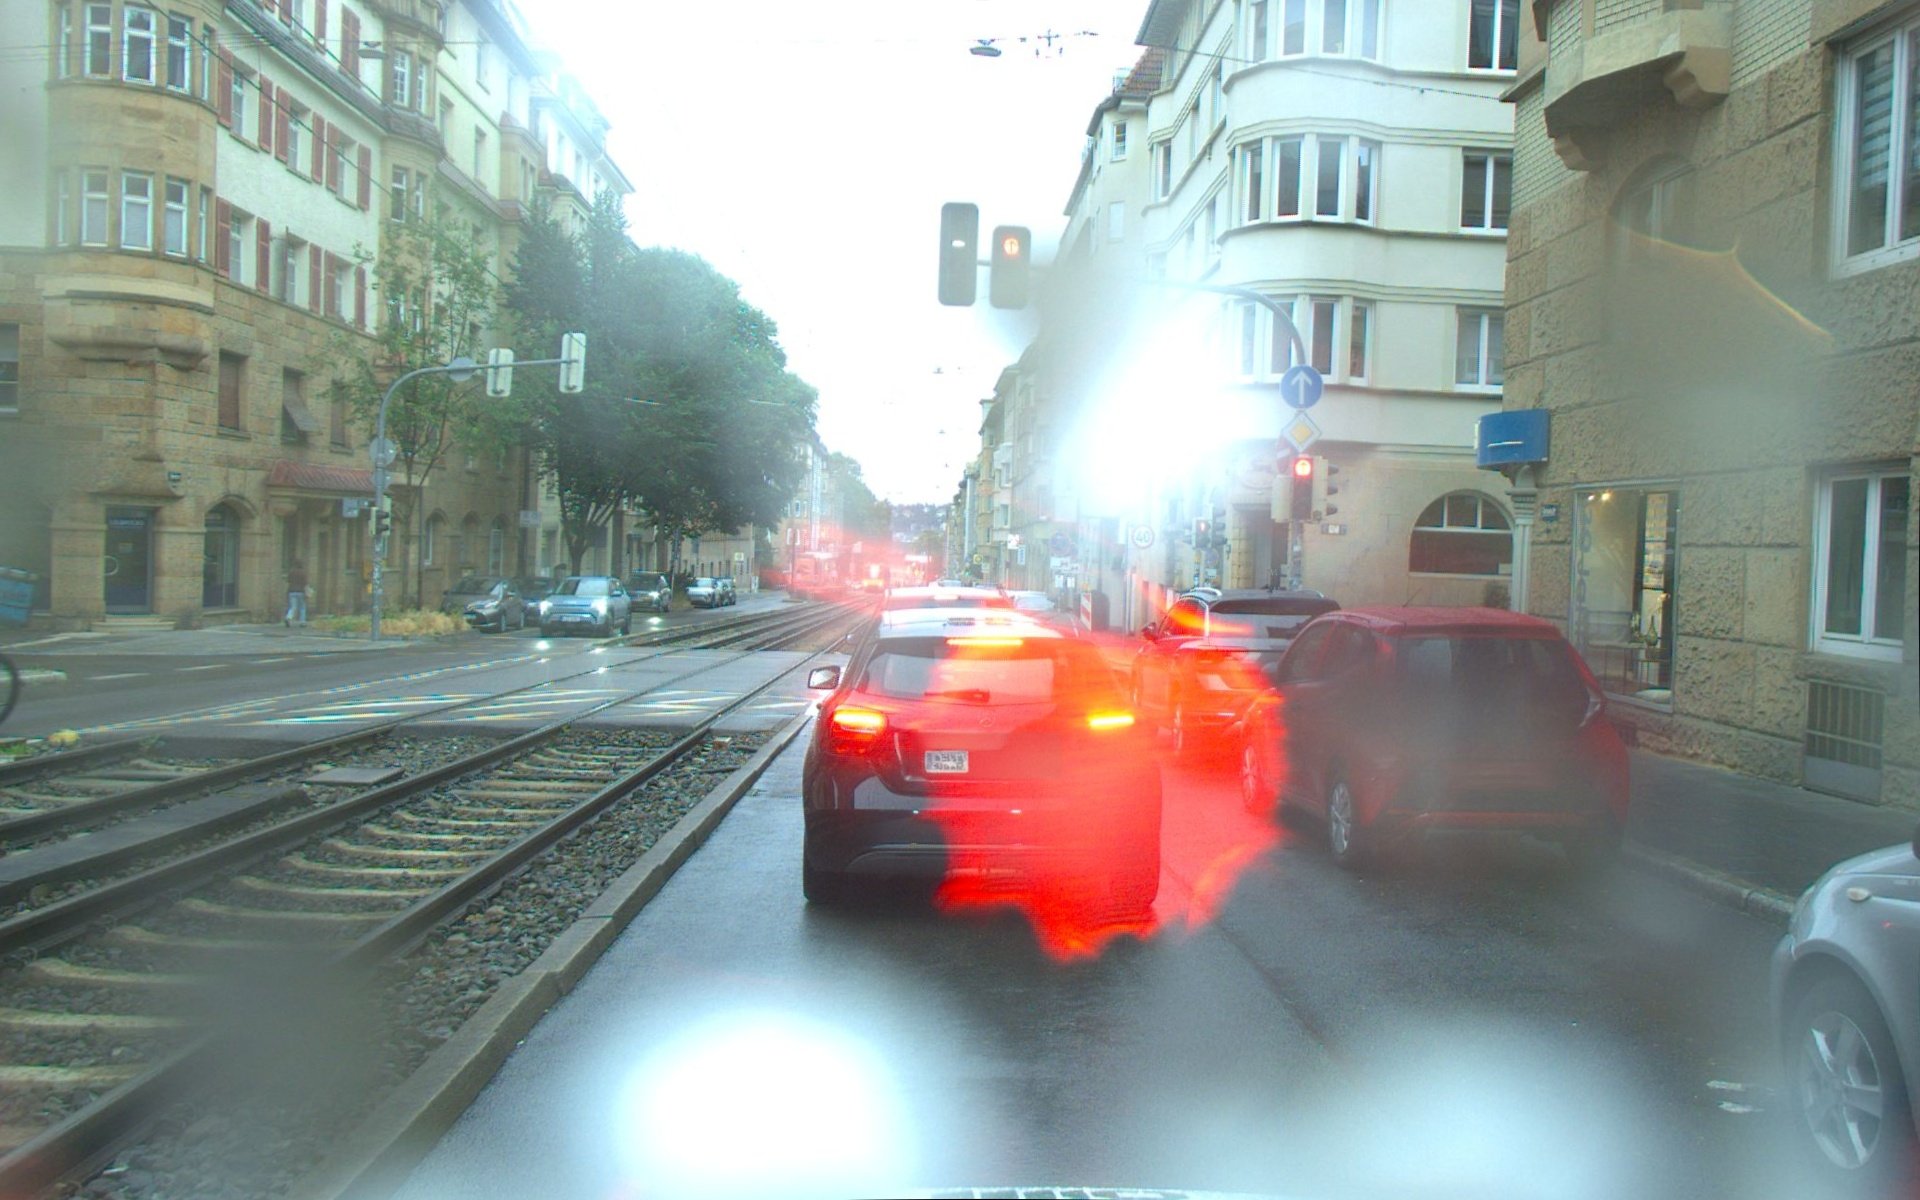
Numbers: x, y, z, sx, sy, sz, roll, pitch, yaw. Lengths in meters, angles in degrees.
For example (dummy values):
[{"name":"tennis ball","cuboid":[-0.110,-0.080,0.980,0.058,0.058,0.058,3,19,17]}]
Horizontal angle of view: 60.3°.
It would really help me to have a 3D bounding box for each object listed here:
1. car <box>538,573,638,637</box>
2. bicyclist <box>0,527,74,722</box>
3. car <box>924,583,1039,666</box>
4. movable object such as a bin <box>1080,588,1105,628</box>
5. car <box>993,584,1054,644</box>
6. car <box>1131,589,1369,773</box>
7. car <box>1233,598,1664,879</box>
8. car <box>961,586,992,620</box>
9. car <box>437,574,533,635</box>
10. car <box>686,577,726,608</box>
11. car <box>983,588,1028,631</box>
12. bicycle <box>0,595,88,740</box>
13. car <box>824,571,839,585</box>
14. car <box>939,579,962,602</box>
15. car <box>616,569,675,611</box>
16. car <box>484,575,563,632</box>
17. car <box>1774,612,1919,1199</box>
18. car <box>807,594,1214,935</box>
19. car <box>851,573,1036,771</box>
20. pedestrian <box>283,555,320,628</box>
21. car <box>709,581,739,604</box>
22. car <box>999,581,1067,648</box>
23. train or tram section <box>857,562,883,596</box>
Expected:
[{"name":"car","cuboid":[-10.044,0.145,44.926,1.860,1.615,3.972,1,0,-1]},{"name":"bicyclist","cuboid":[-8.367,0.197,13.981,0.866,1.625,1.253,1,0,24]},{"name":"car","cuboid":[0.407,0.494,35.494,1.519,1.664,3.671,1,0,-15]},{"name":"movable object such as a bin","cuboid":[4.766,0.298,59.644,0.859,1.413,0.983,1,-1,3]},{"name":"car","cuboid":[1.772,0.374,47.140,1.513,1.618,3.547,1,0,-1]},{"name":"car","cuboid":[2.635,0.676,15.796,1.513,1.512,3.829,1,0,-1]},{"name":"car","cuboid":[2.911,0.748,10.561,1.609,1.473,3.297,1,0,-3]},{"name":"car","cuboid":[0.725,0.128,73.606,1.268,1.467,2.928,1,0,-1]},{"name":"car","cuboid":[-13.009,0.129,45.495,1.718,1.579,4.032,1,0,-4]},{"name":"car","cuboid":[-13.655,-0.384,88.966,1.557,1.608,3.917,1,0,-1]},{"name":"car","cuboid":[1.666,0.322,61.549,1.513,1.512,3.547,1,0,-1]},{"name":"bicycle","cuboid":[-8.465,0.555,13.779,0.807,1.207,2.036,1,0,25]},{"name":"car","cuboid":[-12.234,-2.119,157.625,1.349,1.271,3.296,1,0,-2]},{"name":"car","cuboid":[-0.873,-0.845,146.029,1.953,1.909,3.999,1,0,-1]},{"name":"car","cuboid":[-13.560,-0.412,71.504,1.837,1.767,3.917,1,0,-1]},{"name":"car","cuboid":[-13.273,0.110,50.522,1.683,1.639,3.914,1,0,-5]},{"name":"car","cuboid":[3.129,0.788,3.101,1.581,1.493,3.312,0,0,0]},{"name":"car","cuboid":[0.196,0.732,9.451,1.792,1.483,4.103,1,0,-1]},{"name":"car","cuboid":[-0.172,0.617,15.835,1.533,1.637,3.813,1,0,-1]},{"name":"pedestrian","cuboid":[-15.657,-0.197,39.334,0.619,1.702,0.702,1,-1,-6]},{"name":"car","cuboid":[-14.023,-0.440,98.370,1.419,1.354,3.270,1,0,-3]},{"name":"car","cuboid":[1.842,0.348,42.666,1.513,1.618,3.547,1,0,-1]},{"name":"train or tram section","cuboid":[-10.935,-2.505,201.956,2.726,3.928,10.427,1,0,-1]}]
